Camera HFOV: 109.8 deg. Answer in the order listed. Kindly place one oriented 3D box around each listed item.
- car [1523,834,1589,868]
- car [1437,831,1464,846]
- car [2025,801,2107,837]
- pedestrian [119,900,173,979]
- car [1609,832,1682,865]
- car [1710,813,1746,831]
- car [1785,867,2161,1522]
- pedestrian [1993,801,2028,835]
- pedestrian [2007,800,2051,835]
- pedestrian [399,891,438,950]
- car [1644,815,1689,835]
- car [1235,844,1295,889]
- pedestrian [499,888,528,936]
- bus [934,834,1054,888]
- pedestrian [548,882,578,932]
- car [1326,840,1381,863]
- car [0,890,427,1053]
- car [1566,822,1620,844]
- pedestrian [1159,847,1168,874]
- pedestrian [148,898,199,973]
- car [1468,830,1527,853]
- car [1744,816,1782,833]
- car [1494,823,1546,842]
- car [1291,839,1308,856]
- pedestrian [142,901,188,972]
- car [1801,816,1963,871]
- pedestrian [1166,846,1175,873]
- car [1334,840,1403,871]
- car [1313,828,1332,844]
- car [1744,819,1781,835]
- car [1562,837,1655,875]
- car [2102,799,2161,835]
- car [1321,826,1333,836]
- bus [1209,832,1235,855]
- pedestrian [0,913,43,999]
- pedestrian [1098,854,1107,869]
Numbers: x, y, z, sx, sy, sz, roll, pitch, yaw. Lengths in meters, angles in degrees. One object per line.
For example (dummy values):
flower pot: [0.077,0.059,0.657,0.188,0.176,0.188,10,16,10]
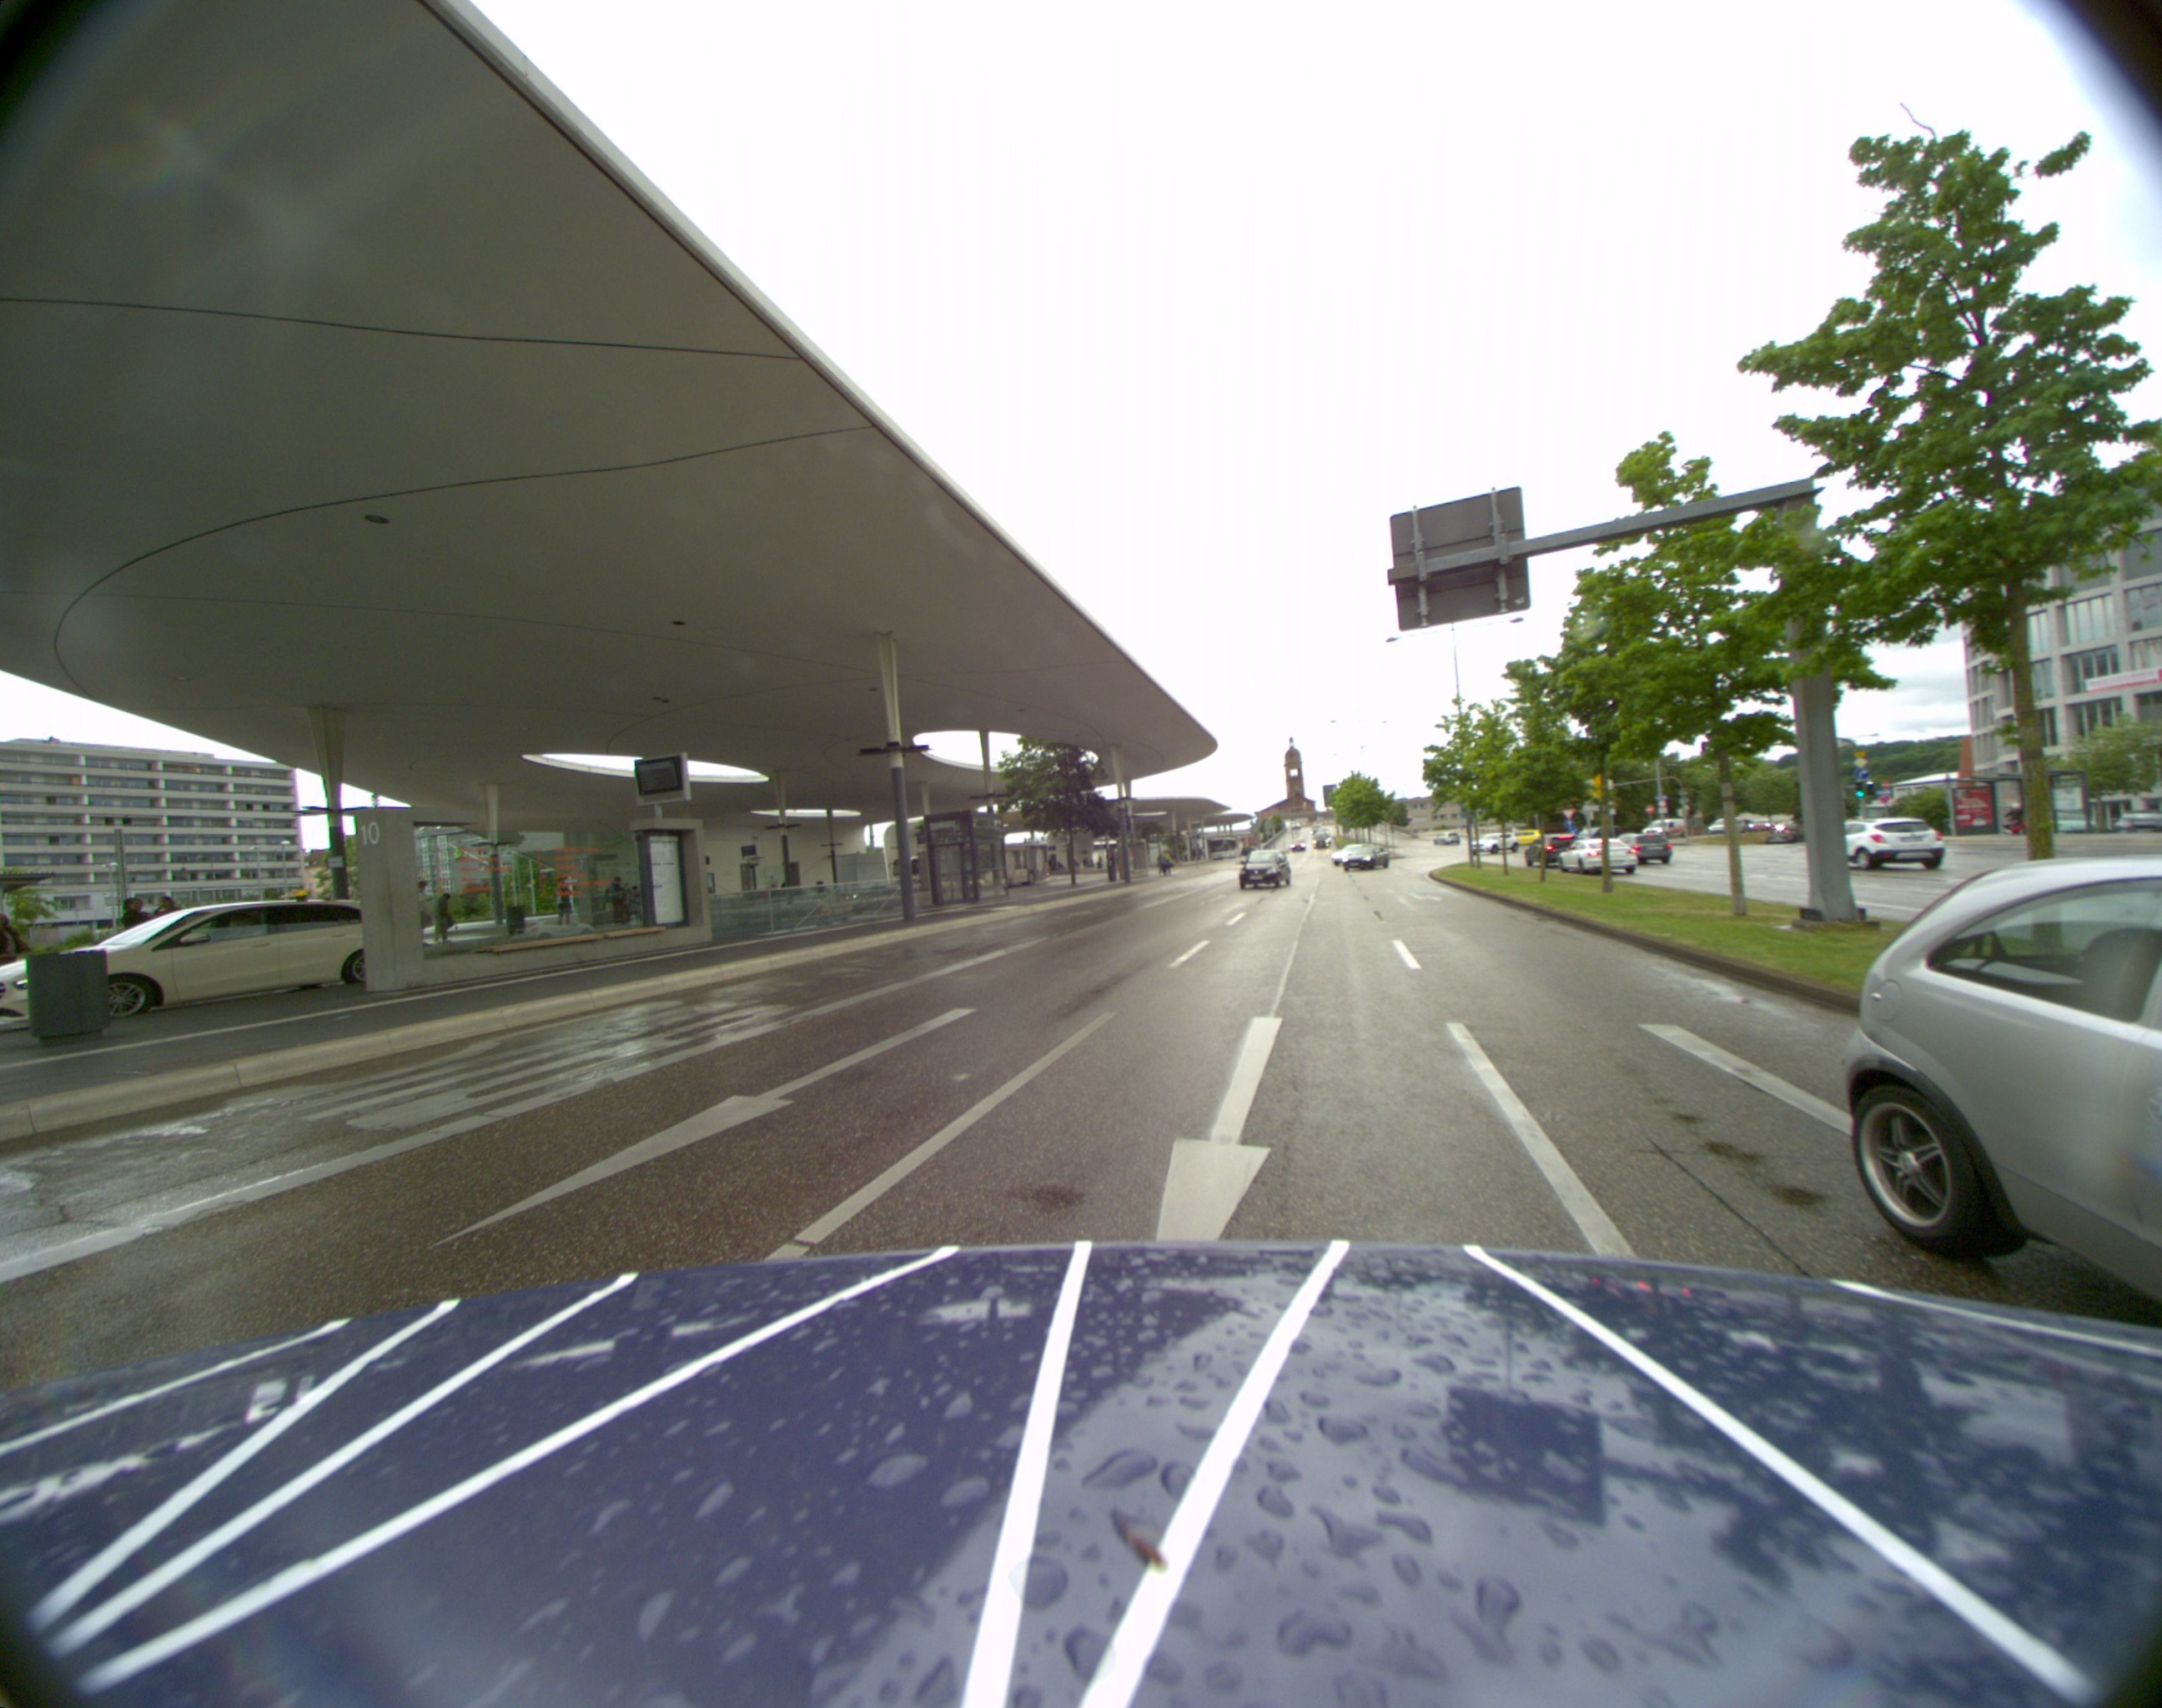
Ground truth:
car: [23.583,-0.184,37.912,2.007,1.545,4.170,-2,1,21]
car: [43.966,-1.812,90.530,1.874,1.624,4.161,-3,0,12]
car: [52.086,-1.858,40.180,4.162,1.692,1.873,-3,1,-26]
pedestrian: [-18.552,1.683,15.078,0.534,1.505,0.480,-3,1,23]
car: [27.297,-0.314,36.891,1.696,1.457,4.458,-2,1,21]
car: [65.408,-3.283,76.807,4.292,1.624,1.872,-3,0,-38]
car: [3.220,0.831,1.157,1.697,1.457,3.724,-2,1,17]
pedestrian: [41.407,-1.598,33.848,0.732,1.481,0.735,-2,1,27]
pedestrian: [41.034,-1.572,32.893,0.982,1.481,0.735,-2,1,29]
pedestrian: [-17.346,1.735,19.903,0.478,1.505,0.536,-3,1,22]
car: [53.773,-2.659,69.770,4.163,1.624,1.872,-3,1,-30]
car: [7.883,0.472,32.251,1.873,1.692,4.163,-2,1,21]
pedestrian: [-18.412,1.893,24.654,0.478,1.505,0.526,-3,1,22]
bus: [-5.305,0.364,49.909,2.872,3.064,11.937,-2,0,19]
pedestrian: [-16.130,1.644,23.659,0.478,1.505,0.536,-3,1,22]
car: [20.687,-0.197,57.649,4.056,1.550,1.808,-3,1,-34]
car: [-13.358,1.568,11.679,1.996,1.671,4.547,-2,1,19]
car: [42.955,-1.779,63.709,4.162,1.625,1.873,-3,1,-25]
pedestrian: [5.395,0.399,49.971,0.445,1.753,0.537,-3,1,12]
pedestrian: [-18.857,1.688,15.795,0.534,1.505,0.480,-3,1,23]
car: [33.334,-0.976,60.812,4.306,1.625,1.873,-3,1,-25]
car: [73.206,-3.159,81.554,4.163,1.624,1.873,-3,0,-32]
car: [44.000,-2.113,76.249,1.879,1.624,4.150,-3,0,-22]
car: [28.067,-0.835,97.445,1.996,2.002,4.004,-2,1,17]
pedestrian: [-20.451,1.836,16.972,0.480,1.505,0.534,-3,1,-37]
car: [26.210,-0.361,25.088,1.958,1.608,4.213,-2,1,19]
pedestrian: [5.880,0.377,49.886,0.445,1.753,0.537,-3,1,9]
car: [17.584,0.078,46.427,4.164,1.692,1.872,-3,1,-34]
car: [31.616,-2.338,99.432,1.996,2.002,4.003,-2,1,13]
car: [74.299,-2.924,82.809,4.163,1.624,1.872,-3,1,-32]
car: [21.375,0.047,30.990,2.007,1.345,4.169,-2,1,19]
car: [53.118,-1.875,37.892,4.162,1.692,1.873,-3,1,-26]
car: [42.125,-3.982,130.261,1.547,1.552,3.653,-2,1,13]
bus: [21.399,-1.609,115.937,3.580,3.080,10.762,-3,0,10]
pedestrian: [-20.896,1.979,14.771,0.640,1.586,0.742,-2,1,33]
pedestrian: [2.944,0.974,103.959,1.024,2.002,0.880,-2,1,-1]
